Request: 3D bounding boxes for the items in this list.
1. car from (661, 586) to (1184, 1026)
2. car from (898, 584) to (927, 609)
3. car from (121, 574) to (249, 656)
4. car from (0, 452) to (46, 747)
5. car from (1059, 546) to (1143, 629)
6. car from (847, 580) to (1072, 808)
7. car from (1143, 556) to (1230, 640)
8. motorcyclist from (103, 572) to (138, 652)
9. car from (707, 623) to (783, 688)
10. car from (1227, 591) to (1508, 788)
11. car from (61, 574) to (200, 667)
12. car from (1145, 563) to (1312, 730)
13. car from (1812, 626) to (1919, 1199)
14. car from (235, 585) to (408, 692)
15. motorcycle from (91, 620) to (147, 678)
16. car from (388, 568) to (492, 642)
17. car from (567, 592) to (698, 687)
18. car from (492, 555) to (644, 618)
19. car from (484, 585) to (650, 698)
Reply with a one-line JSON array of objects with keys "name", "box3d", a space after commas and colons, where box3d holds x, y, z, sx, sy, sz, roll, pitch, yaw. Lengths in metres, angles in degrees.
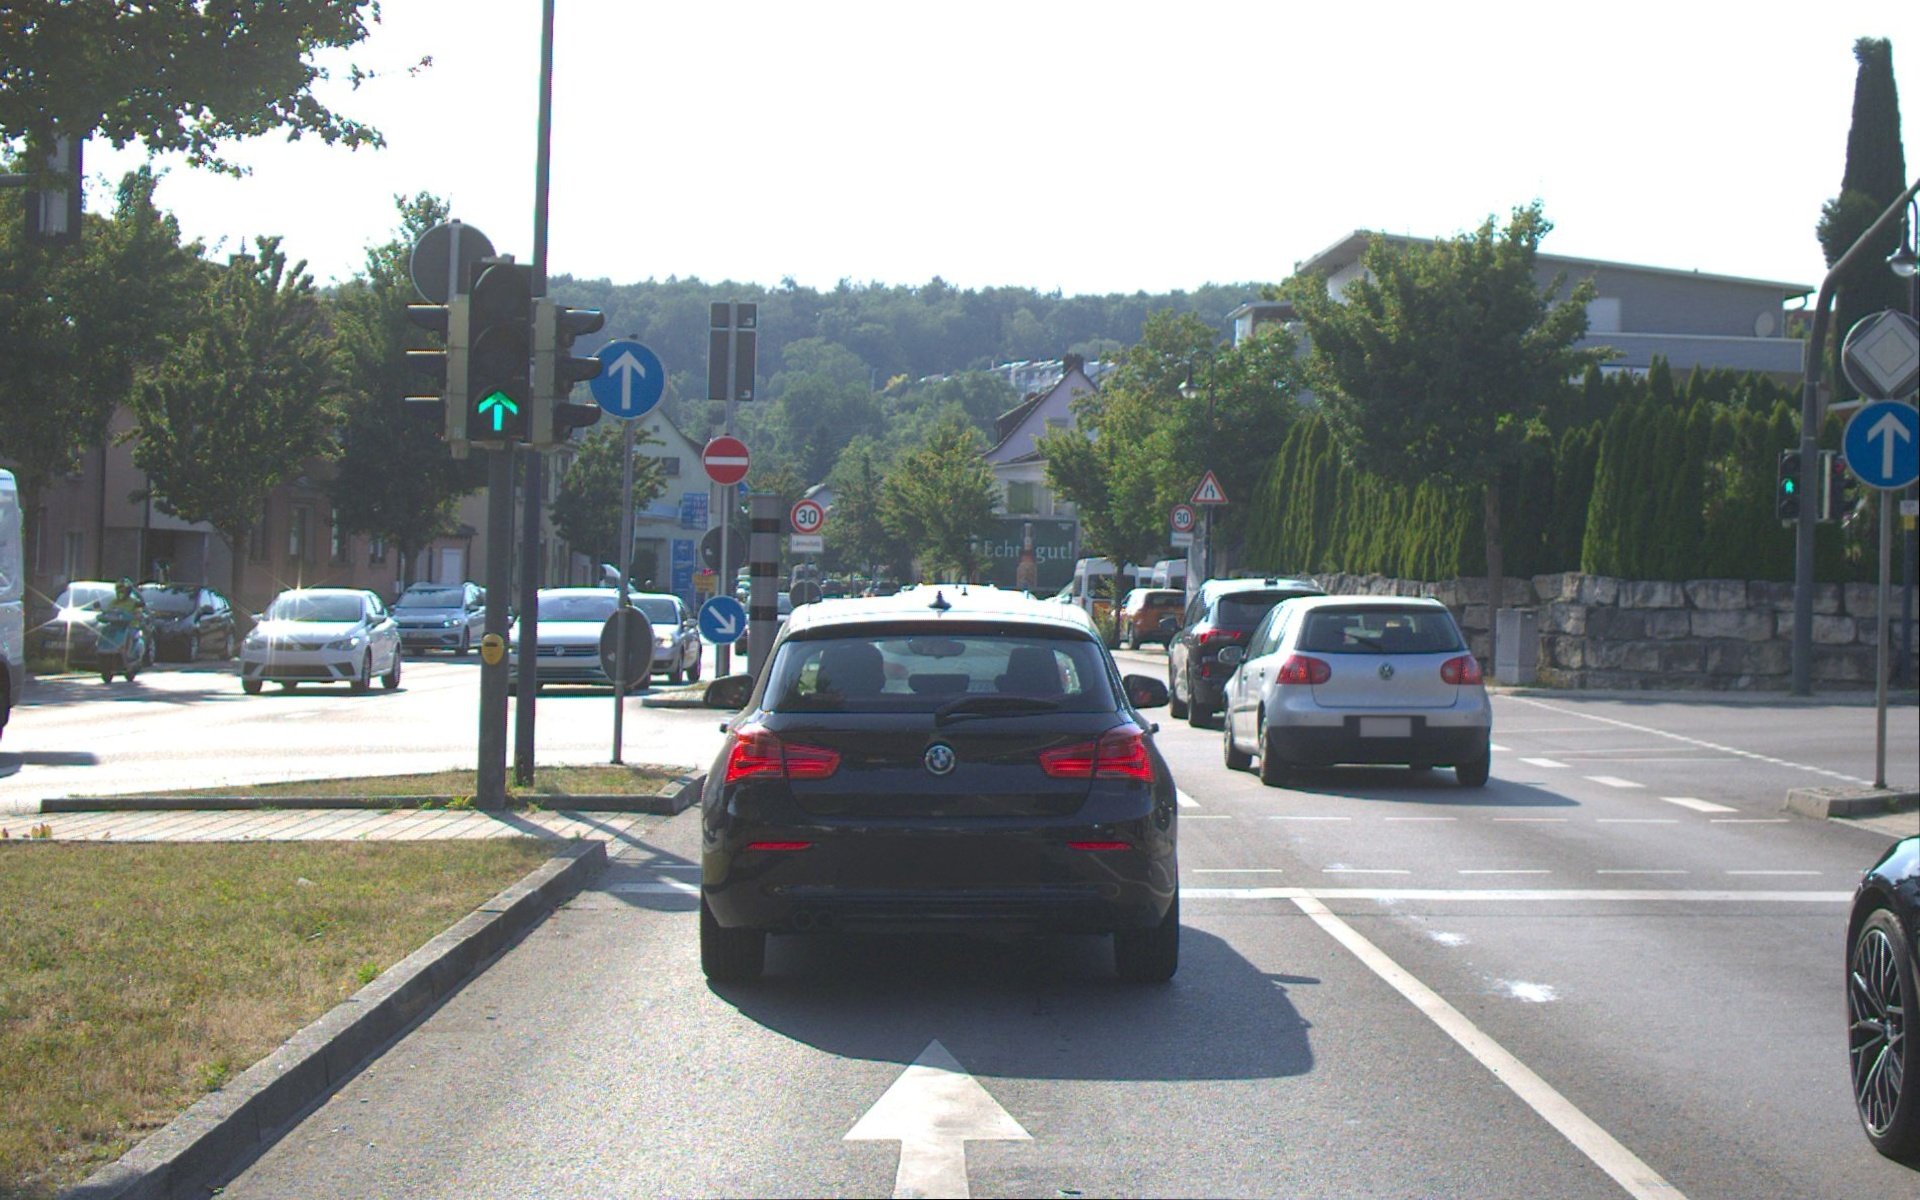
[{"name": "car", "box3d": [-0.150, 0.703, 13.592, 1.771, 1.451, 3.516, 1, 1, -1]}, {"name": "car", "box3d": [-2.924, -0.215, 210.864, 1.596, 1.480, 3.475, 2, 1, -3]}, {"name": "car", "box3d": [-14.909, 0.260, 66.307, 1.618, 1.505, 4.133, 1, 1, -2]}, {"name": "car", "box3d": [-9.061, -0.002, 27.414, 2.084, 2.467, 5.479, 1, 1, 0]}, {"name": "car", "box3d": [4.712, -0.443, 115.984, 2.149, 2.671, 6.604, 1, 1, -3]}, {"name": "car", "box3d": [0.045, 0.664, 26.658, 1.592, 1.595, 3.893, 1, 1, 1]}, {"name": "car", "box3d": [7.636, -0.102, 116.431, 2.111, 2.712, 6.444, 1, 1, -4]}, {"name": "motorcyclist", "box3d": [-13.010, 0.185, 53.270, 0.403, 1.224, 0.462, 1, 0, 1]}, {"name": "car", "box3d": [-5.136, 1.315, 82.347, 1.532, 1.457, 3.506, 1, 1, 1]}, {"name": "car", "box3d": [3.149, 0.656, 27.167, 1.753, 1.409, 3.422, 1, 1, -1]}, {"name": "car", "box3d": [-14.543, 0.334, 60.424, 1.512, 1.505, 3.886, 3, 1, -1]}, {"name": "car", "box3d": [2.961, 0.476, 38.442, 1.603, 1.761, 3.411, 1, 1, 0]}, {"name": "car", "box3d": [3.189, 0.782, 7.146, 1.699, 1.364, 4.262, 0, 1, -1]}, {"name": "car", "box3d": [-9.037, 0.513, 48.952, 1.757, 1.406, 4.000, 1, 1, -1]}, {"name": "motorcycle", "box3d": [-13.022, 0.749, 53.280, 0.412, 0.857, 1.763, 1, 1, 1]}, {"name": "car", "box3d": [-11.763, 0.103, 77.972, 1.686, 1.606, 4.413, 1, 0, 0]}, {"name": "car", "box3d": [-5.150, 0.607, 54.416, 1.589, 1.422, 3.578, 1, 0, 2]}, {"name": "car", "box3d": [-16.622, -0.580, 146.050, 6.158, 2.436, 2.249, 2, 0, -1]}, {"name": "car", "box3d": [-5.513, 0.550, 48.725, 1.835, 1.483, 4.566, 1, 1, 0]}]
